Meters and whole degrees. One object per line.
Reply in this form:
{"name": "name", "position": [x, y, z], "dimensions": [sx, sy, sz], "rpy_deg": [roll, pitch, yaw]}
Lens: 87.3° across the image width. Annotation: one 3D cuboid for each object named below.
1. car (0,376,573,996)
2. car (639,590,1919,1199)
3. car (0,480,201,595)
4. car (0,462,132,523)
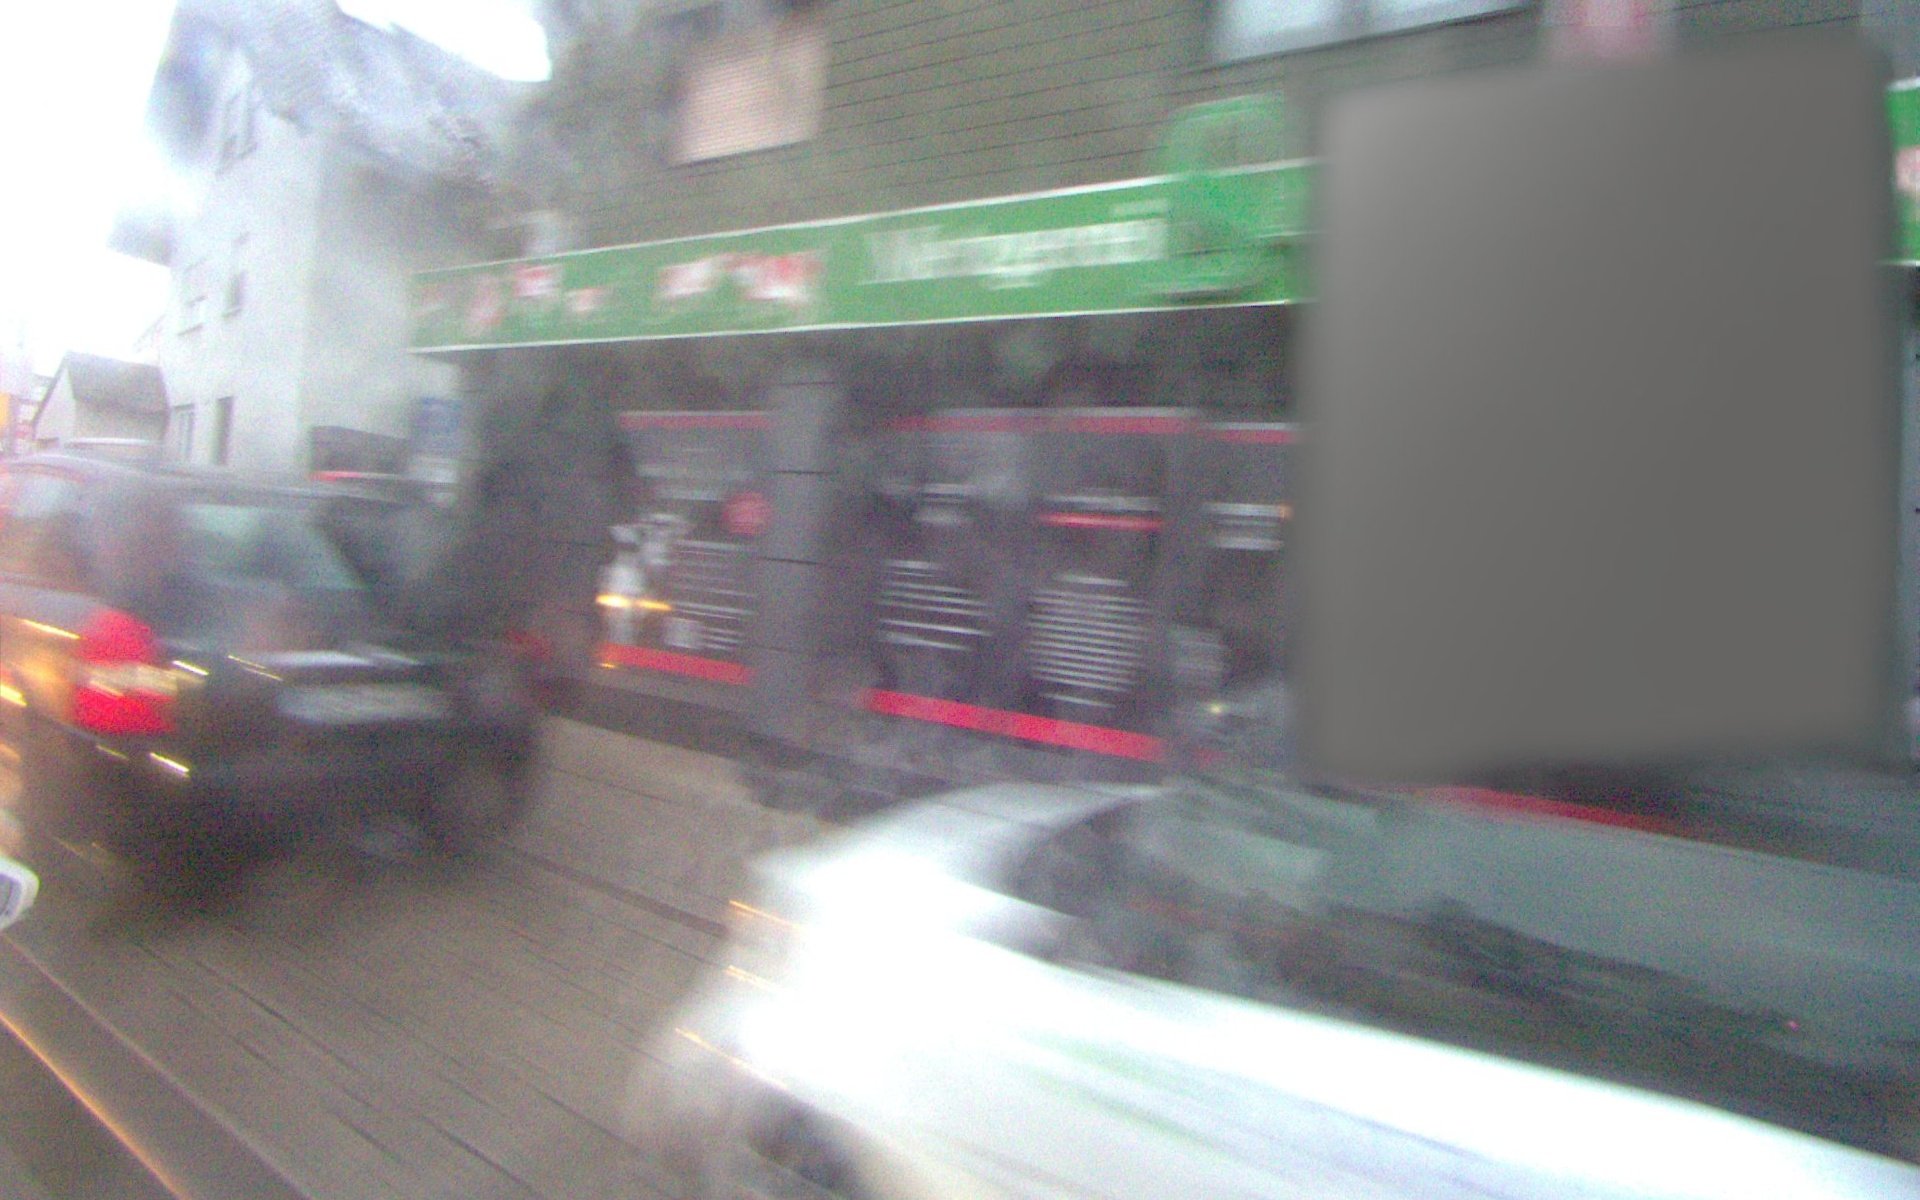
{"name": "car", "position": [-3.823, 0.093, 4.776], "dimensions": [3.938, 1.806, 1.767], "rpy_deg": [7, 3, 36]}
{"name": "car", "position": [1.009, 0.859, 1.816], "dimensions": [2.682, 1.435, 1.645], "rpy_deg": [7, 3, 31]}
{"name": "car", "position": [-13.538, -0.992, 15.180], "dimensions": [3.845, 1.412, 1.767], "rpy_deg": [7, 2, 26]}
{"name": "car", "position": [-27.355, -3.193, 29.692], "dimensions": [1.777, 1.664, 4.162], "rpy_deg": [8, 7, 38]}
